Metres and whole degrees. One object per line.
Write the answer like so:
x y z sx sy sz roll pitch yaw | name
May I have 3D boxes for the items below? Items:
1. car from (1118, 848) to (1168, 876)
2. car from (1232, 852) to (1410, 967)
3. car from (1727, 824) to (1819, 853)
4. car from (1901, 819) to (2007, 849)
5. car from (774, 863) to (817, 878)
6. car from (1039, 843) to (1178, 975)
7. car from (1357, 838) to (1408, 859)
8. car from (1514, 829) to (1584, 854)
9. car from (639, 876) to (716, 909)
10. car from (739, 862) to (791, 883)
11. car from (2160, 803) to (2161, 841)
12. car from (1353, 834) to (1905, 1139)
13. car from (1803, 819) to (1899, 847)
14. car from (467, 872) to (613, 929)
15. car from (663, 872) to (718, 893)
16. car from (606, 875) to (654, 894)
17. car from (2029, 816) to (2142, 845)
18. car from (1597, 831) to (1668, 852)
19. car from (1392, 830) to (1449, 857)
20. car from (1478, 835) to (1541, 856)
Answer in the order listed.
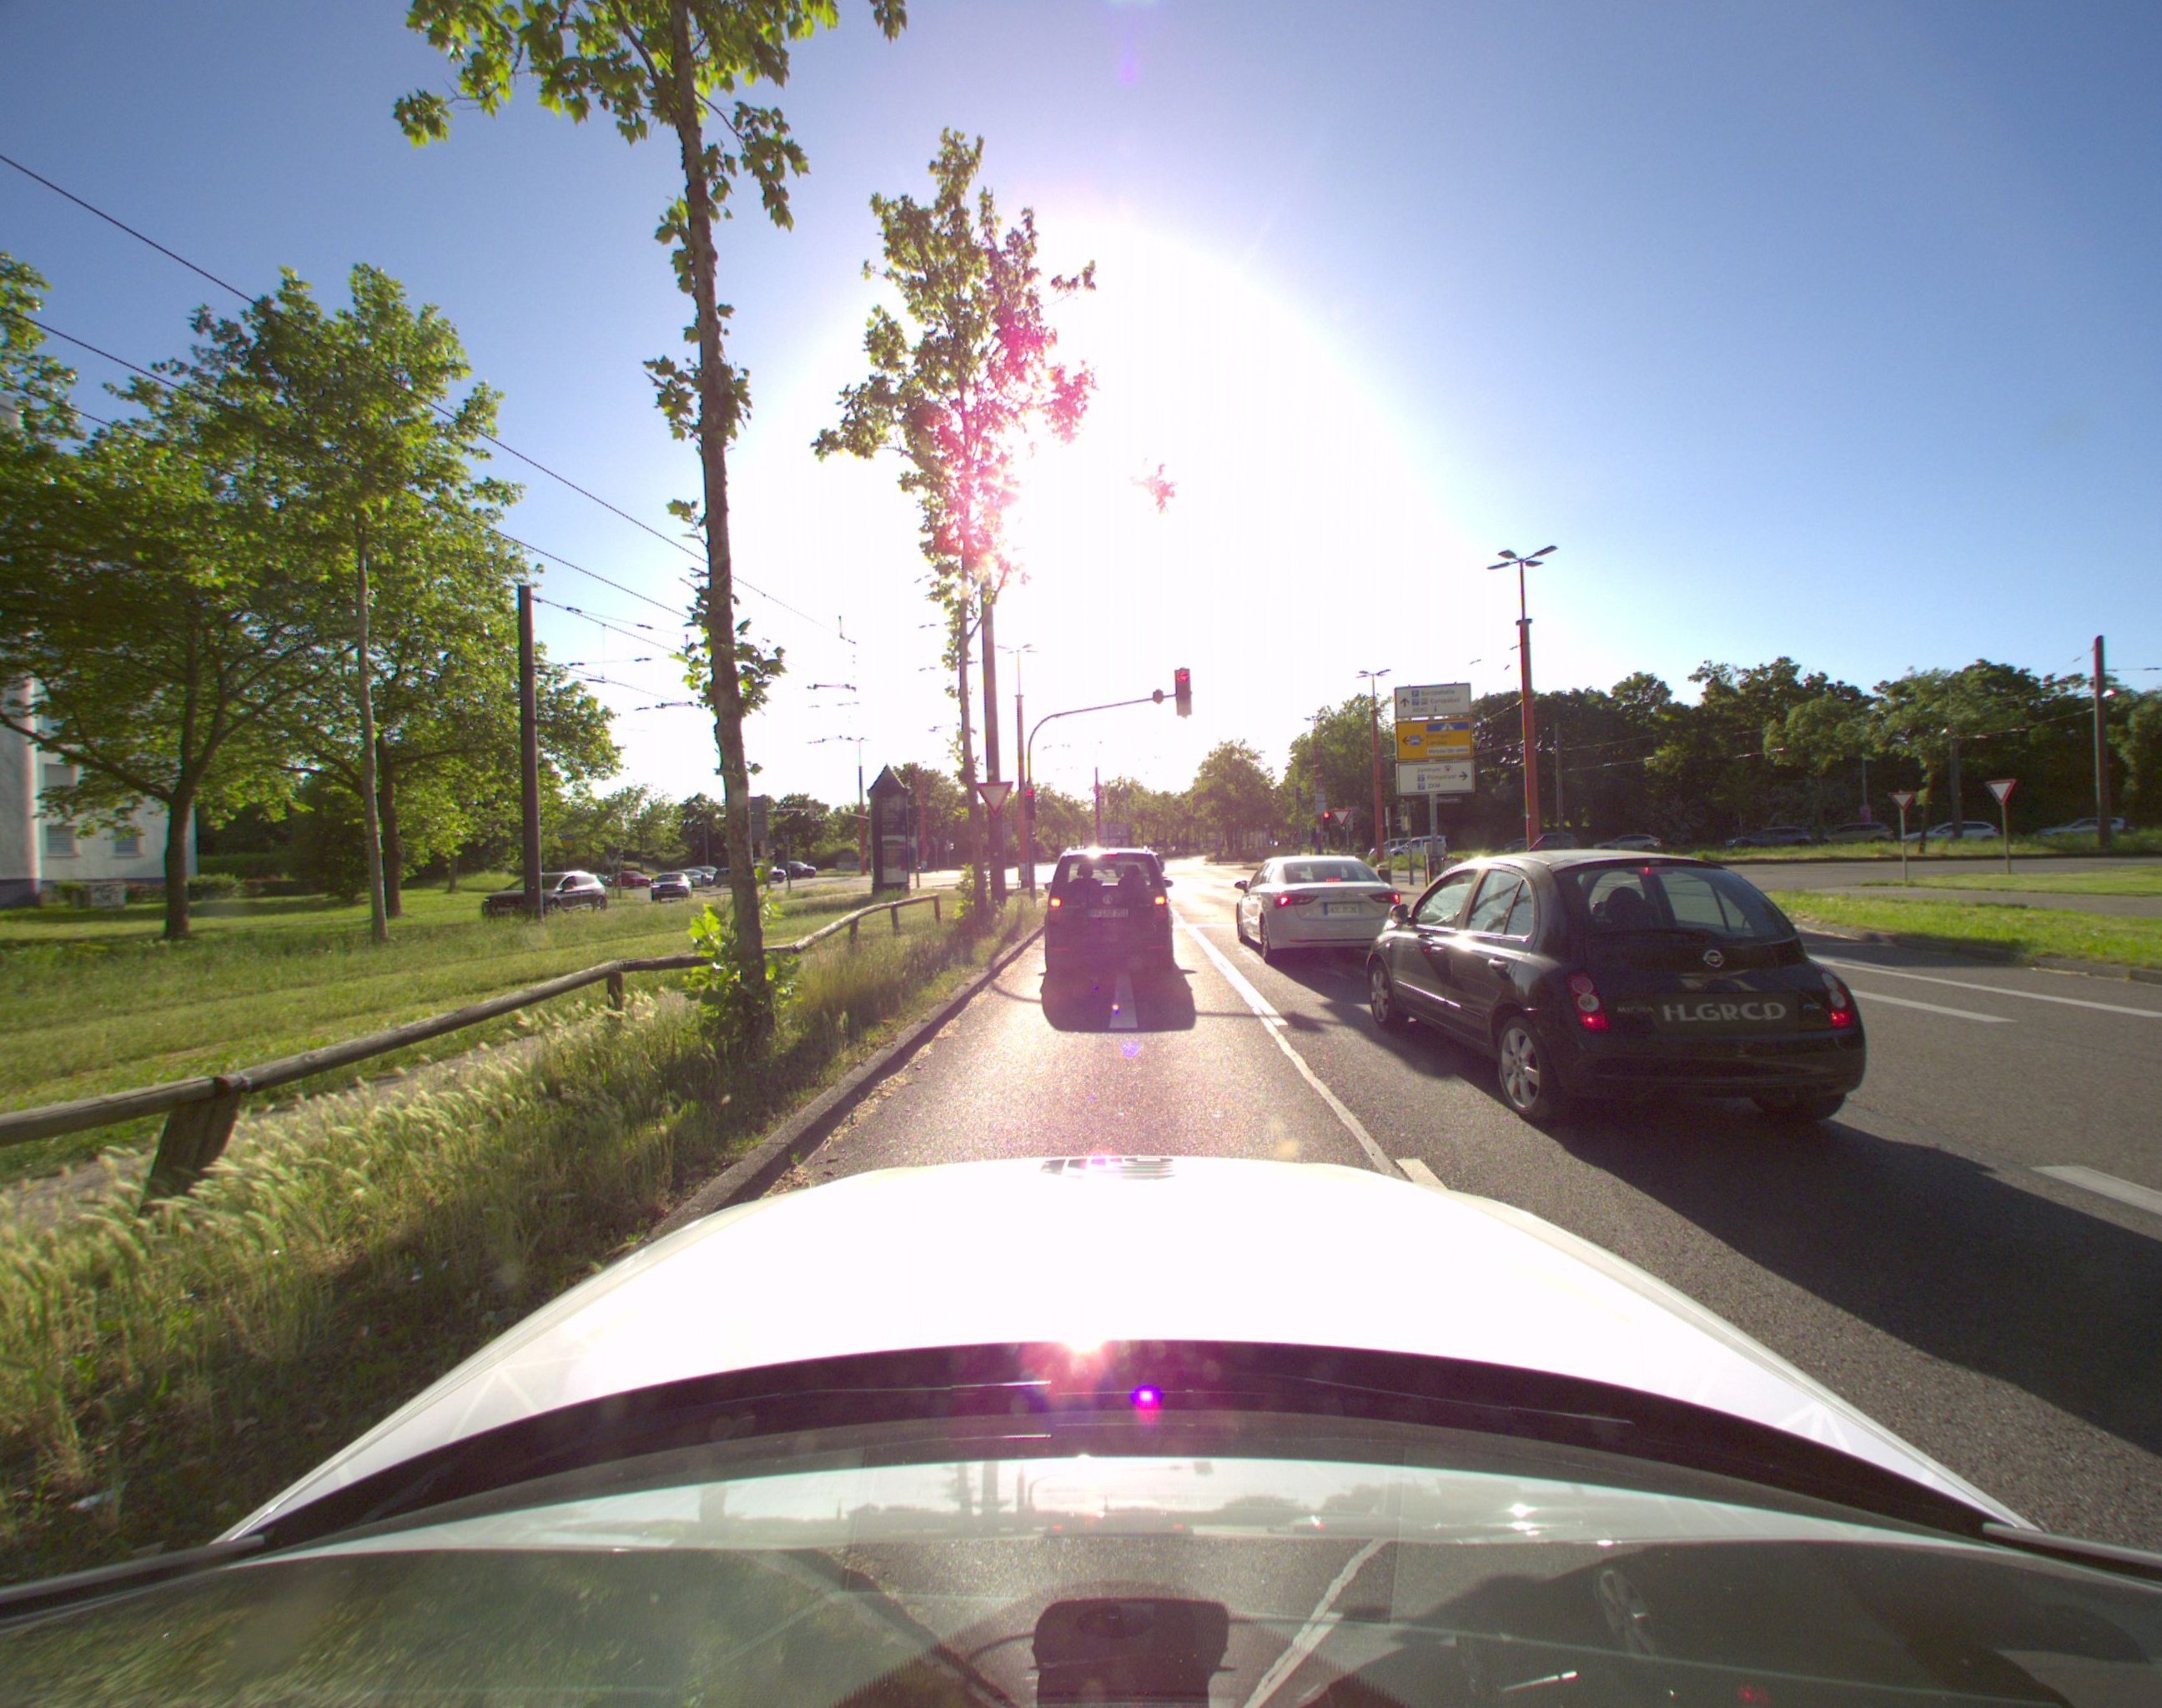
3.872 0.498 51.459 1.802 1.656 4.090 -2 0 -17 | car
3.424 0.708 12.416 1.713 1.438 4.202 -1 0 4 | car
43.046 -0.934 50.767 4.080 1.598 1.840 -2 0 29 | car
50.074 -1.129 46.825 3.782 1.523 1.706 -2 0 31 | car
-26.334 1.541 75.104 3.948 1.330 1.709 -2 0 33 | car
0.405 0.689 12.191 1.694 1.621 3.898 -2 0 2 | car
24.034 -0.429 64.877 3.608 1.655 1.690 0 -1 27 | car
32.445 -0.817 56.573 4.139 1.644 1.770 0 -1 29 | car
-21.449 2.029 43.454 1.799 1.522 4.332 -2 0 2 | car
-26.282 1.555 67.702 3.948 1.644 2.013 -2 0 33 | car
59.278 -1.748 41.629 4.526 2.013 2.013 -2 0 30 | car
3.315 0.660 5.850 1.647 1.500 3.617 -1 0 2 | car
48.959 -1.312 51.908 4.080 1.644 1.864 -2 0 31 | car
-16.971 1.411 25.825 1.758 1.512 4.104 -2 0 2 | car
-32.106 2.310 66.975 4.135 1.612 1.880 -2 0 27 | car
-39.097 2.665 70.553 3.949 1.513 1.743 -2 0 28 | car
56.861 -1.283 46.191 3.700 1.473 1.611 -2 0 30 | car
38.344 -0.845 56.733 3.926 1.441 1.697 0 -1 30 | car
25.266 -0.755 60.644 3.797 1.890 1.774 0 -1 25 | car
31.807 -0.590 60.512 4.082 1.511 1.834 0 -1 28 | car
